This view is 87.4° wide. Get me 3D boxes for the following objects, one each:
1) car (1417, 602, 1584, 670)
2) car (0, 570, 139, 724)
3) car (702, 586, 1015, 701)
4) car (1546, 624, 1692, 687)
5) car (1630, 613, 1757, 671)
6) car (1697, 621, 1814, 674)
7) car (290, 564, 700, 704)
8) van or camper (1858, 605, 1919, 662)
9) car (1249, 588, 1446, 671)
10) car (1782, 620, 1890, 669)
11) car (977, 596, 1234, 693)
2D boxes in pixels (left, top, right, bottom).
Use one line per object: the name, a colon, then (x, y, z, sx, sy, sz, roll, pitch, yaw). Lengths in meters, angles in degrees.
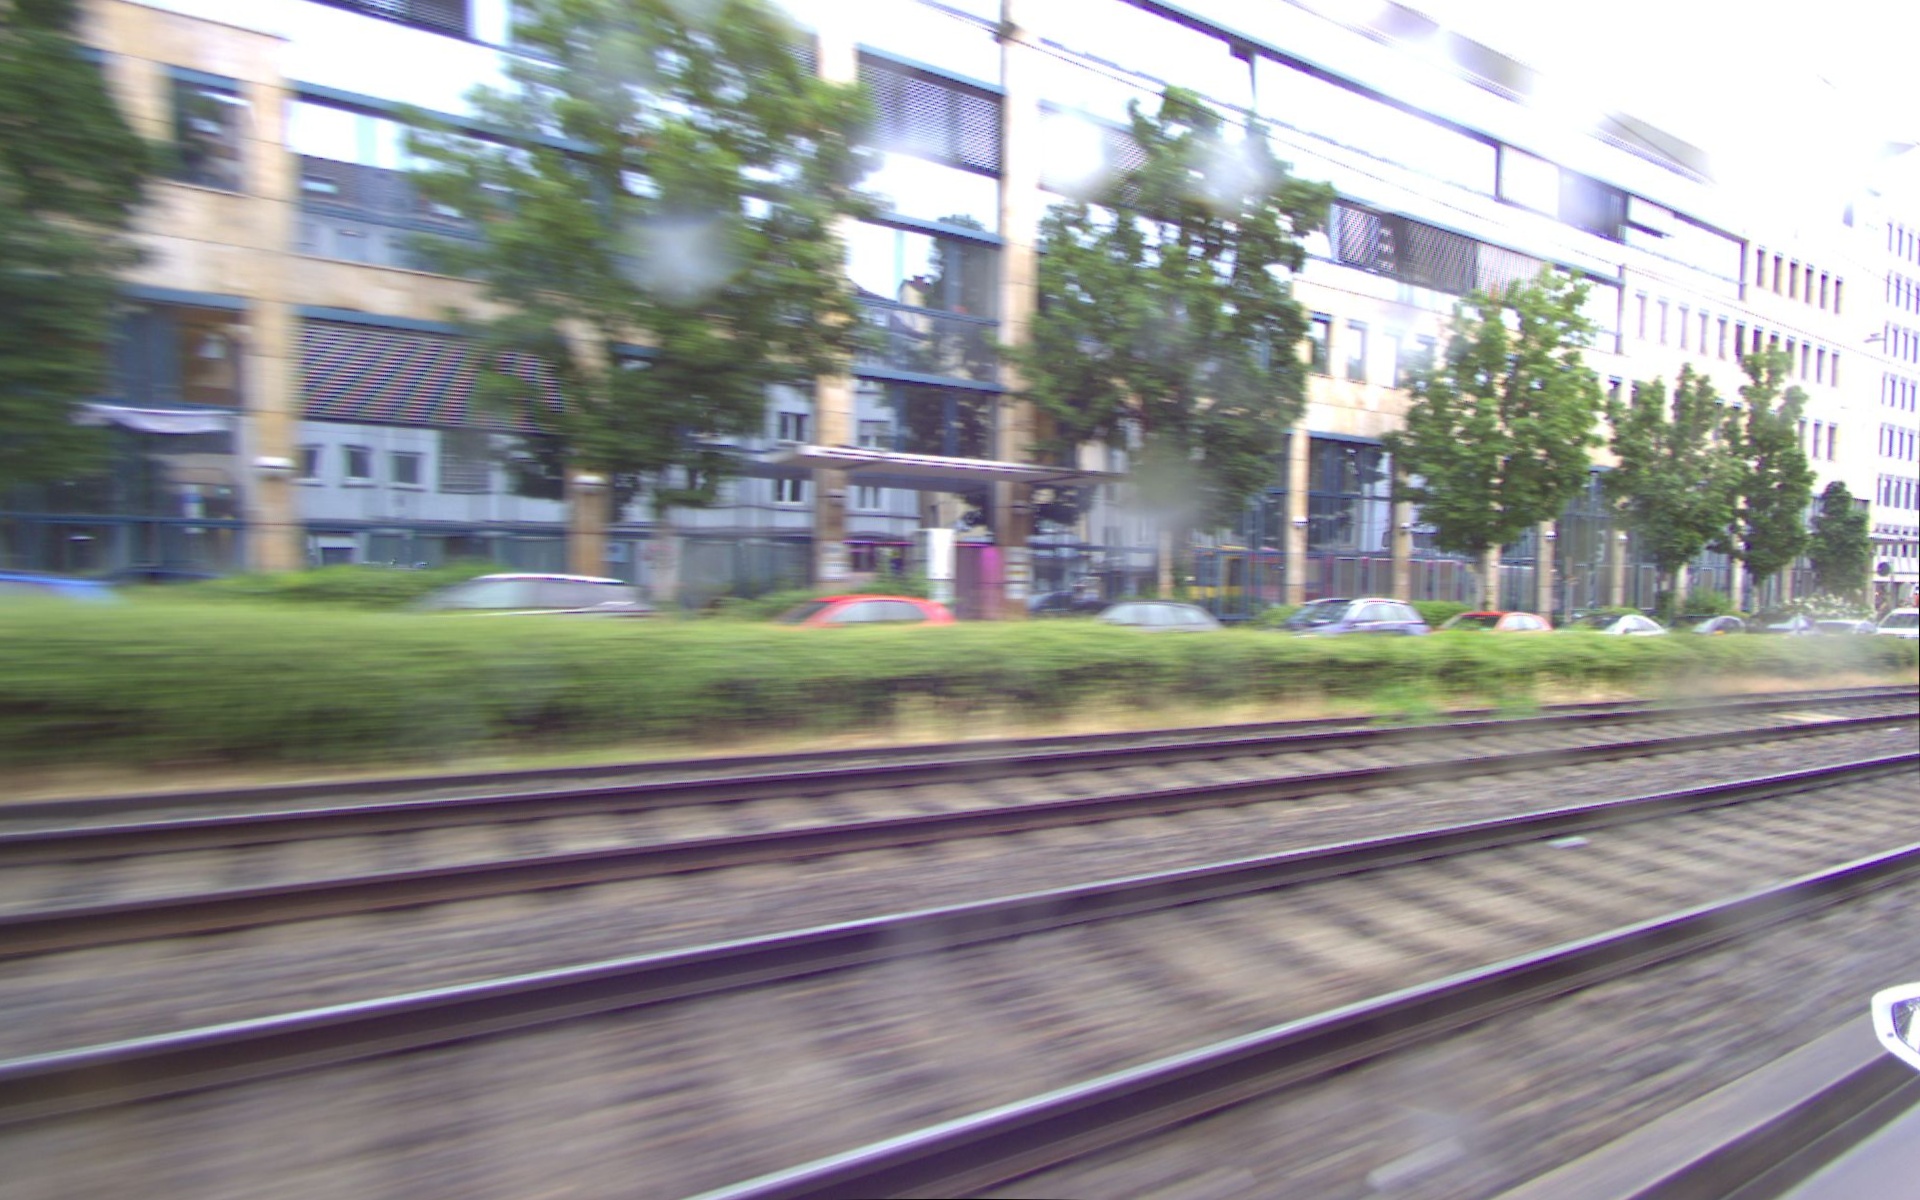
car: (13.239, 0.850, 24.542, 4.242, 1.518, 1.641, 1, 0, -31)
car: (-10.916, 0.431, 9.986, 4.020, 1.518, 1.641, 1, 0, -31)
car: (-1.504, 0.623, 15.572, 4.568, 1.561, 1.641, 1, 0, -31)
car: (17.825, 1.451, 27.132, 4.143, 1.518, 1.641, 1, 0, -31)
car: (21.735, 1.192, 29.739, 3.956, 1.506, 1.679, 0, 2, -32)
car: (25.723, 1.482, 32.439, 4.249, 1.506, 1.679, 0, 2, -33)
car: (-5.884, 0.406, 13.057, 4.568, 1.561, 1.641, 1, 0, -31)
van or camper: (37.119, 1.302, 38.899, 5.137, 2.024, 2.007, 2, 1, -31)
car: (8.291, 0.611, 21.411, 4.242, 1.623, 1.641, 1, 0, -31)
car: (30.422, 1.488, 34.865, 4.208, 1.506, 1.679, 0, 2, -32)
car: (2.690, 0.754, 18.125, 4.568, 1.561, 1.641, 1, 0, -31)
